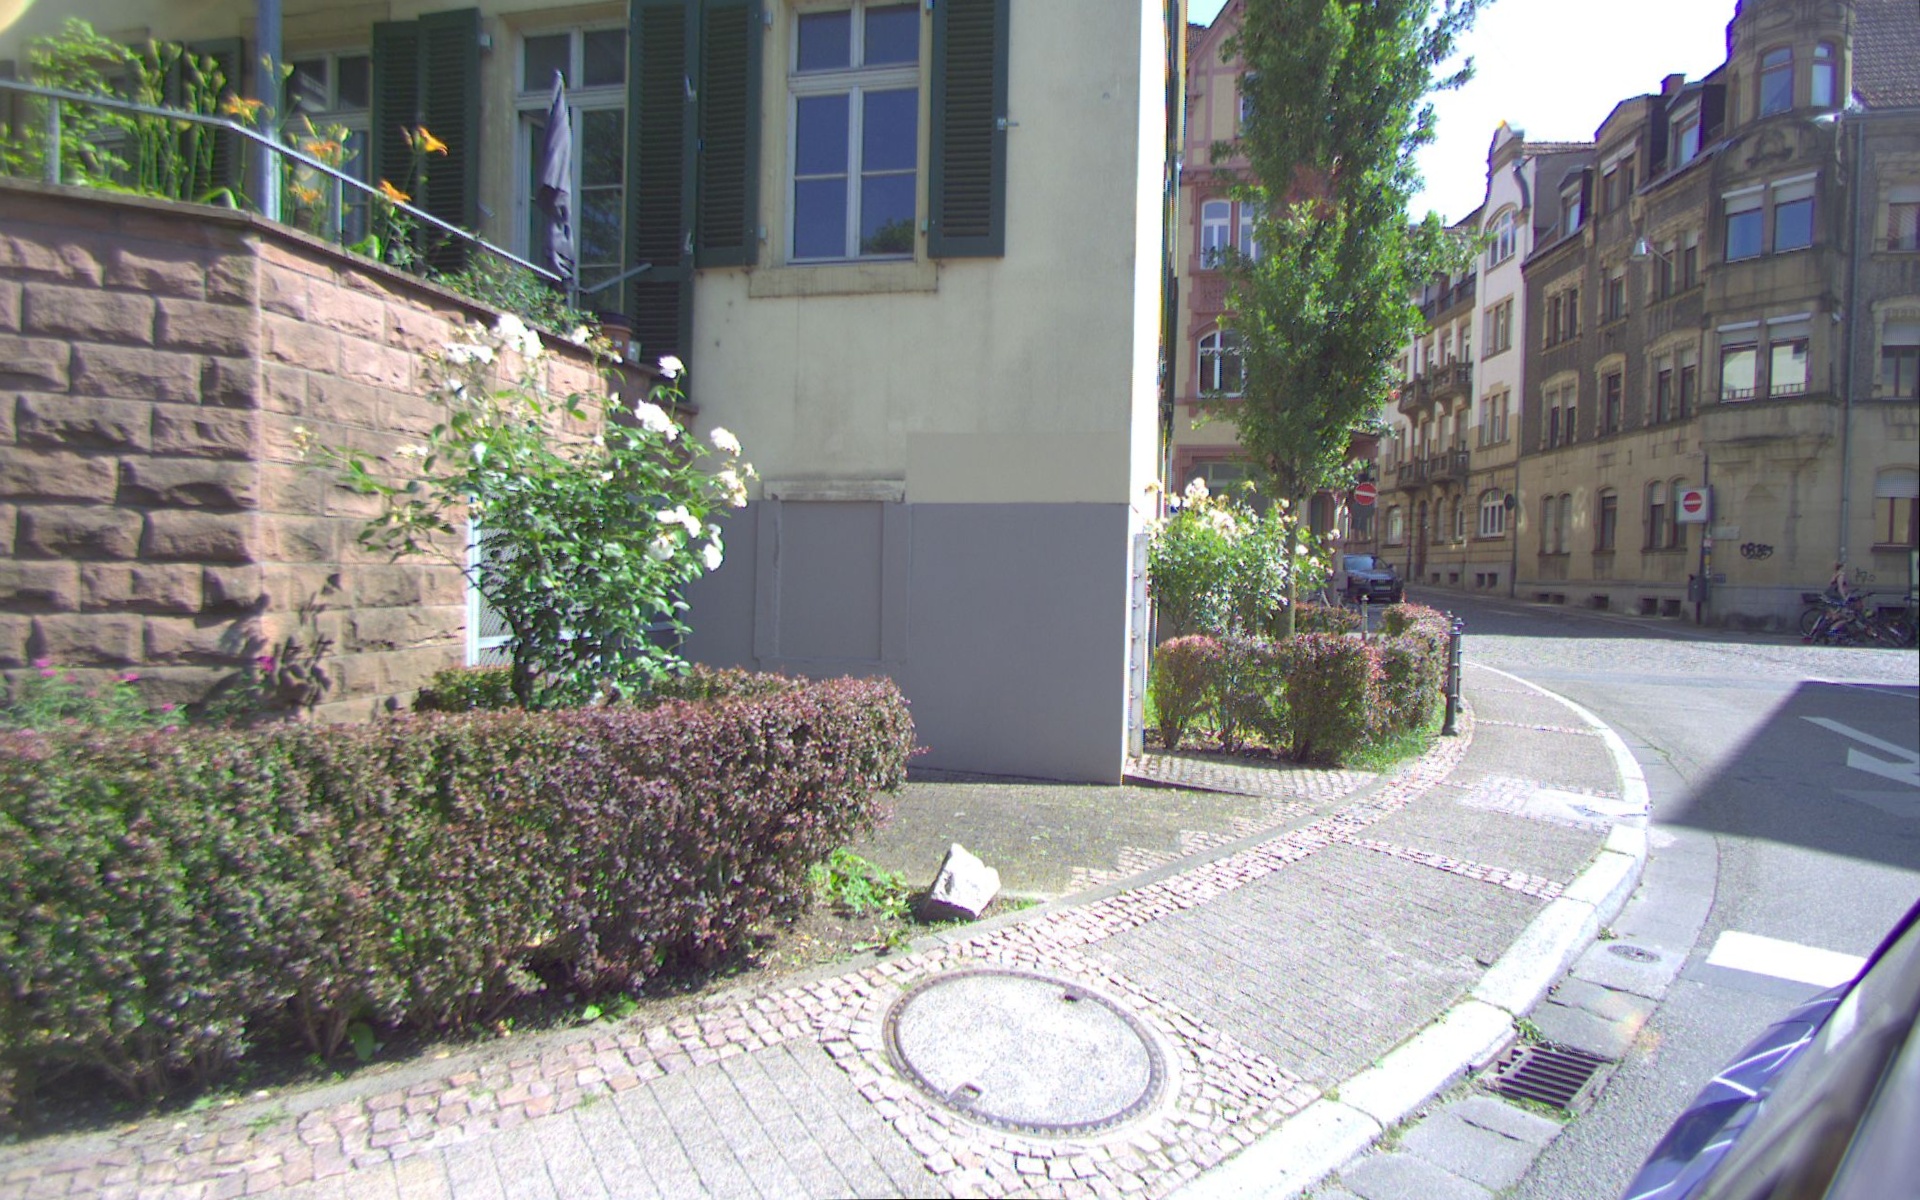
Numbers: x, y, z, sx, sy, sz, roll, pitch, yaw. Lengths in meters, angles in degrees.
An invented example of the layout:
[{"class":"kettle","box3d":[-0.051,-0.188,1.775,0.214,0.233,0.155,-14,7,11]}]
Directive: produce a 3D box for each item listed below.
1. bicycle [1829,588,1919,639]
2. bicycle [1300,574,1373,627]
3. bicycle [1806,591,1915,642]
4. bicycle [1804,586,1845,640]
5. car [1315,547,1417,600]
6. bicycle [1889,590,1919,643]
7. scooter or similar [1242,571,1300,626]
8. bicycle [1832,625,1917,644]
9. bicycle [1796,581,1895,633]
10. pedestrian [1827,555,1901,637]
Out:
[{"class":"bicycle","box3d":[19.960,0.281,21.895,0.285,1.080,1.642,-42,1,3]},{"class":"bicycle","box3d":[8.968,-0.003,24.173,0.495,1.160,1.798,1,3,-23]},{"class":"bicycle","box3d":[19.472,0.340,21.933,0.285,1.080,1.642,-42,1,3]},{"class":"bicycle","box3d":[18.858,0.269,22.095,0.283,1.099,1.627,-2,1,26]},{"class":"car","box3d":[13.623,-0.947,34.247,1.828,1.602,4.261,0,4,2]},{"class":"bicycle","box3d":[20.406,0.356,21.078,0.280,1.099,1.645,3,-1,-15]},{"class":"scooter or similar","box3d":[7.315,-0.048,23.826,1.168,1.250,0.442,1,2,0]},{"class":"bicycle","box3d":[19.443,0.729,21.546,1.068,0.291,1.114,2,3,27]},{"class":"bicycle","box3d":[20.646,0.162,23.618,1.617,1.098,0.495,2,6,13]},{"class":"pedestrian","box3d":[20.375,-0.103,22.822,0.966,1.778,0.622,1,5,12]}]
